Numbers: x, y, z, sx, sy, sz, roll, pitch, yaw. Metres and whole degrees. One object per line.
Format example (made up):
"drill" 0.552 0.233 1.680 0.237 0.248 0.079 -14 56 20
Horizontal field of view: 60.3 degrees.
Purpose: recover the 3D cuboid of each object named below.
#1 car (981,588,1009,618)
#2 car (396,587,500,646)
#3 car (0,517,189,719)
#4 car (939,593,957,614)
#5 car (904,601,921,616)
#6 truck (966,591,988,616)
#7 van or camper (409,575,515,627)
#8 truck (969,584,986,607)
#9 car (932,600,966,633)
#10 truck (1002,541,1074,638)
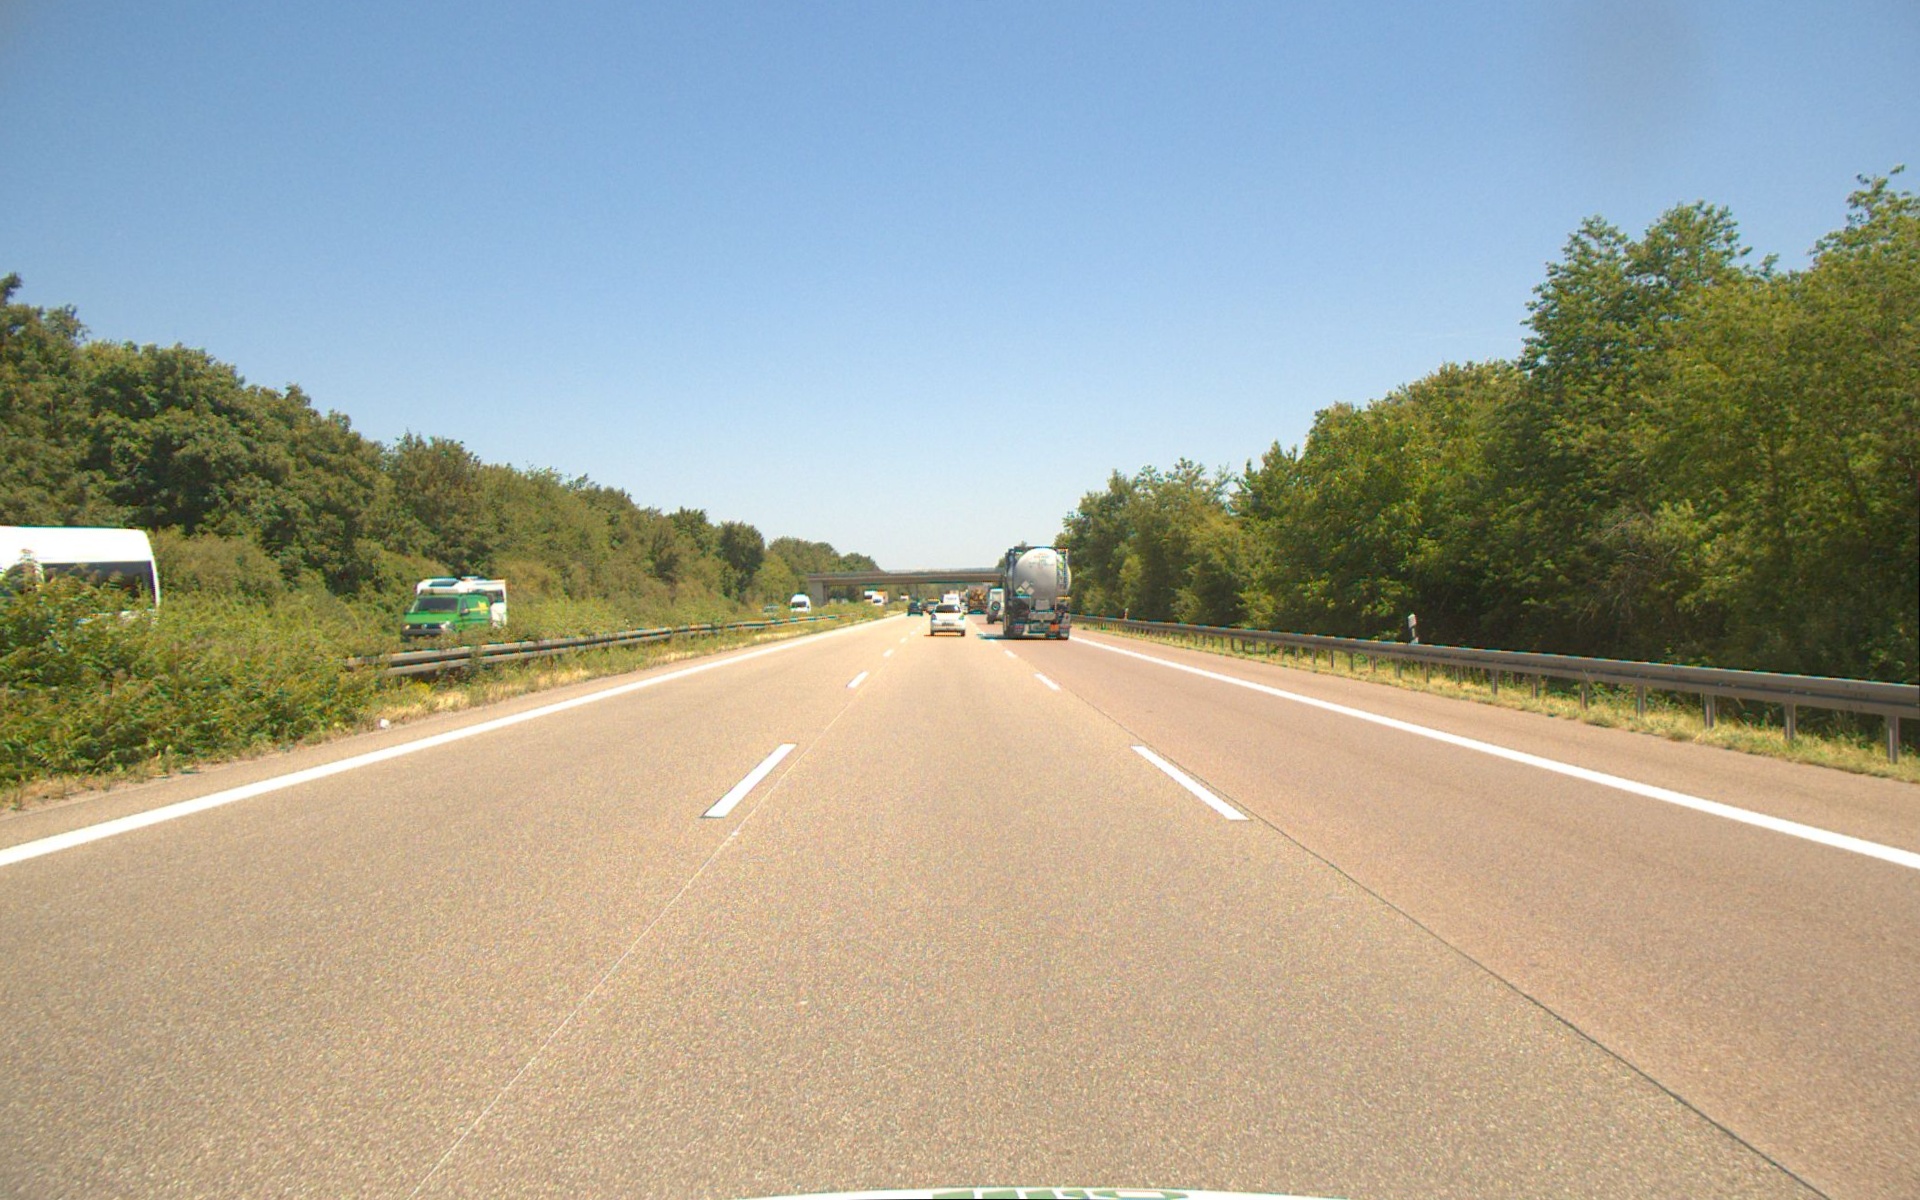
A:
"car" 2.696 0.207 127.540 1.953 2.264 4.785 0 0 -1
"car" -17.424 0.522 56.554 1.953 1.911 5.458 0 0 -1
"car" -12.586 0.224 21.834 1.953 2.442 6.165 0 0 0
"car" -1.406 0.367 192.076 1.952 2.384 4.387 0 0 0
"car" -5.700 1.058 197.279 1.953 1.756 4.785 0 0 -1
"truck" 2.355 0.482 227.603 2.855 3.297 6.343 1 -1 -1
"van or camper" -20.733 0.033 69.181 2.447 2.049 6.362 0 0 1
"truck" 2.541 -0.616 238.463 2.243 3.297 6.343 1 -1 -1
"car" -0.524 0.755 78.627 1.594 1.505 3.999 0 0 -1
"truck" 3.442 -0.433 75.539 2.683 4.123 10.452 0 0 -1
